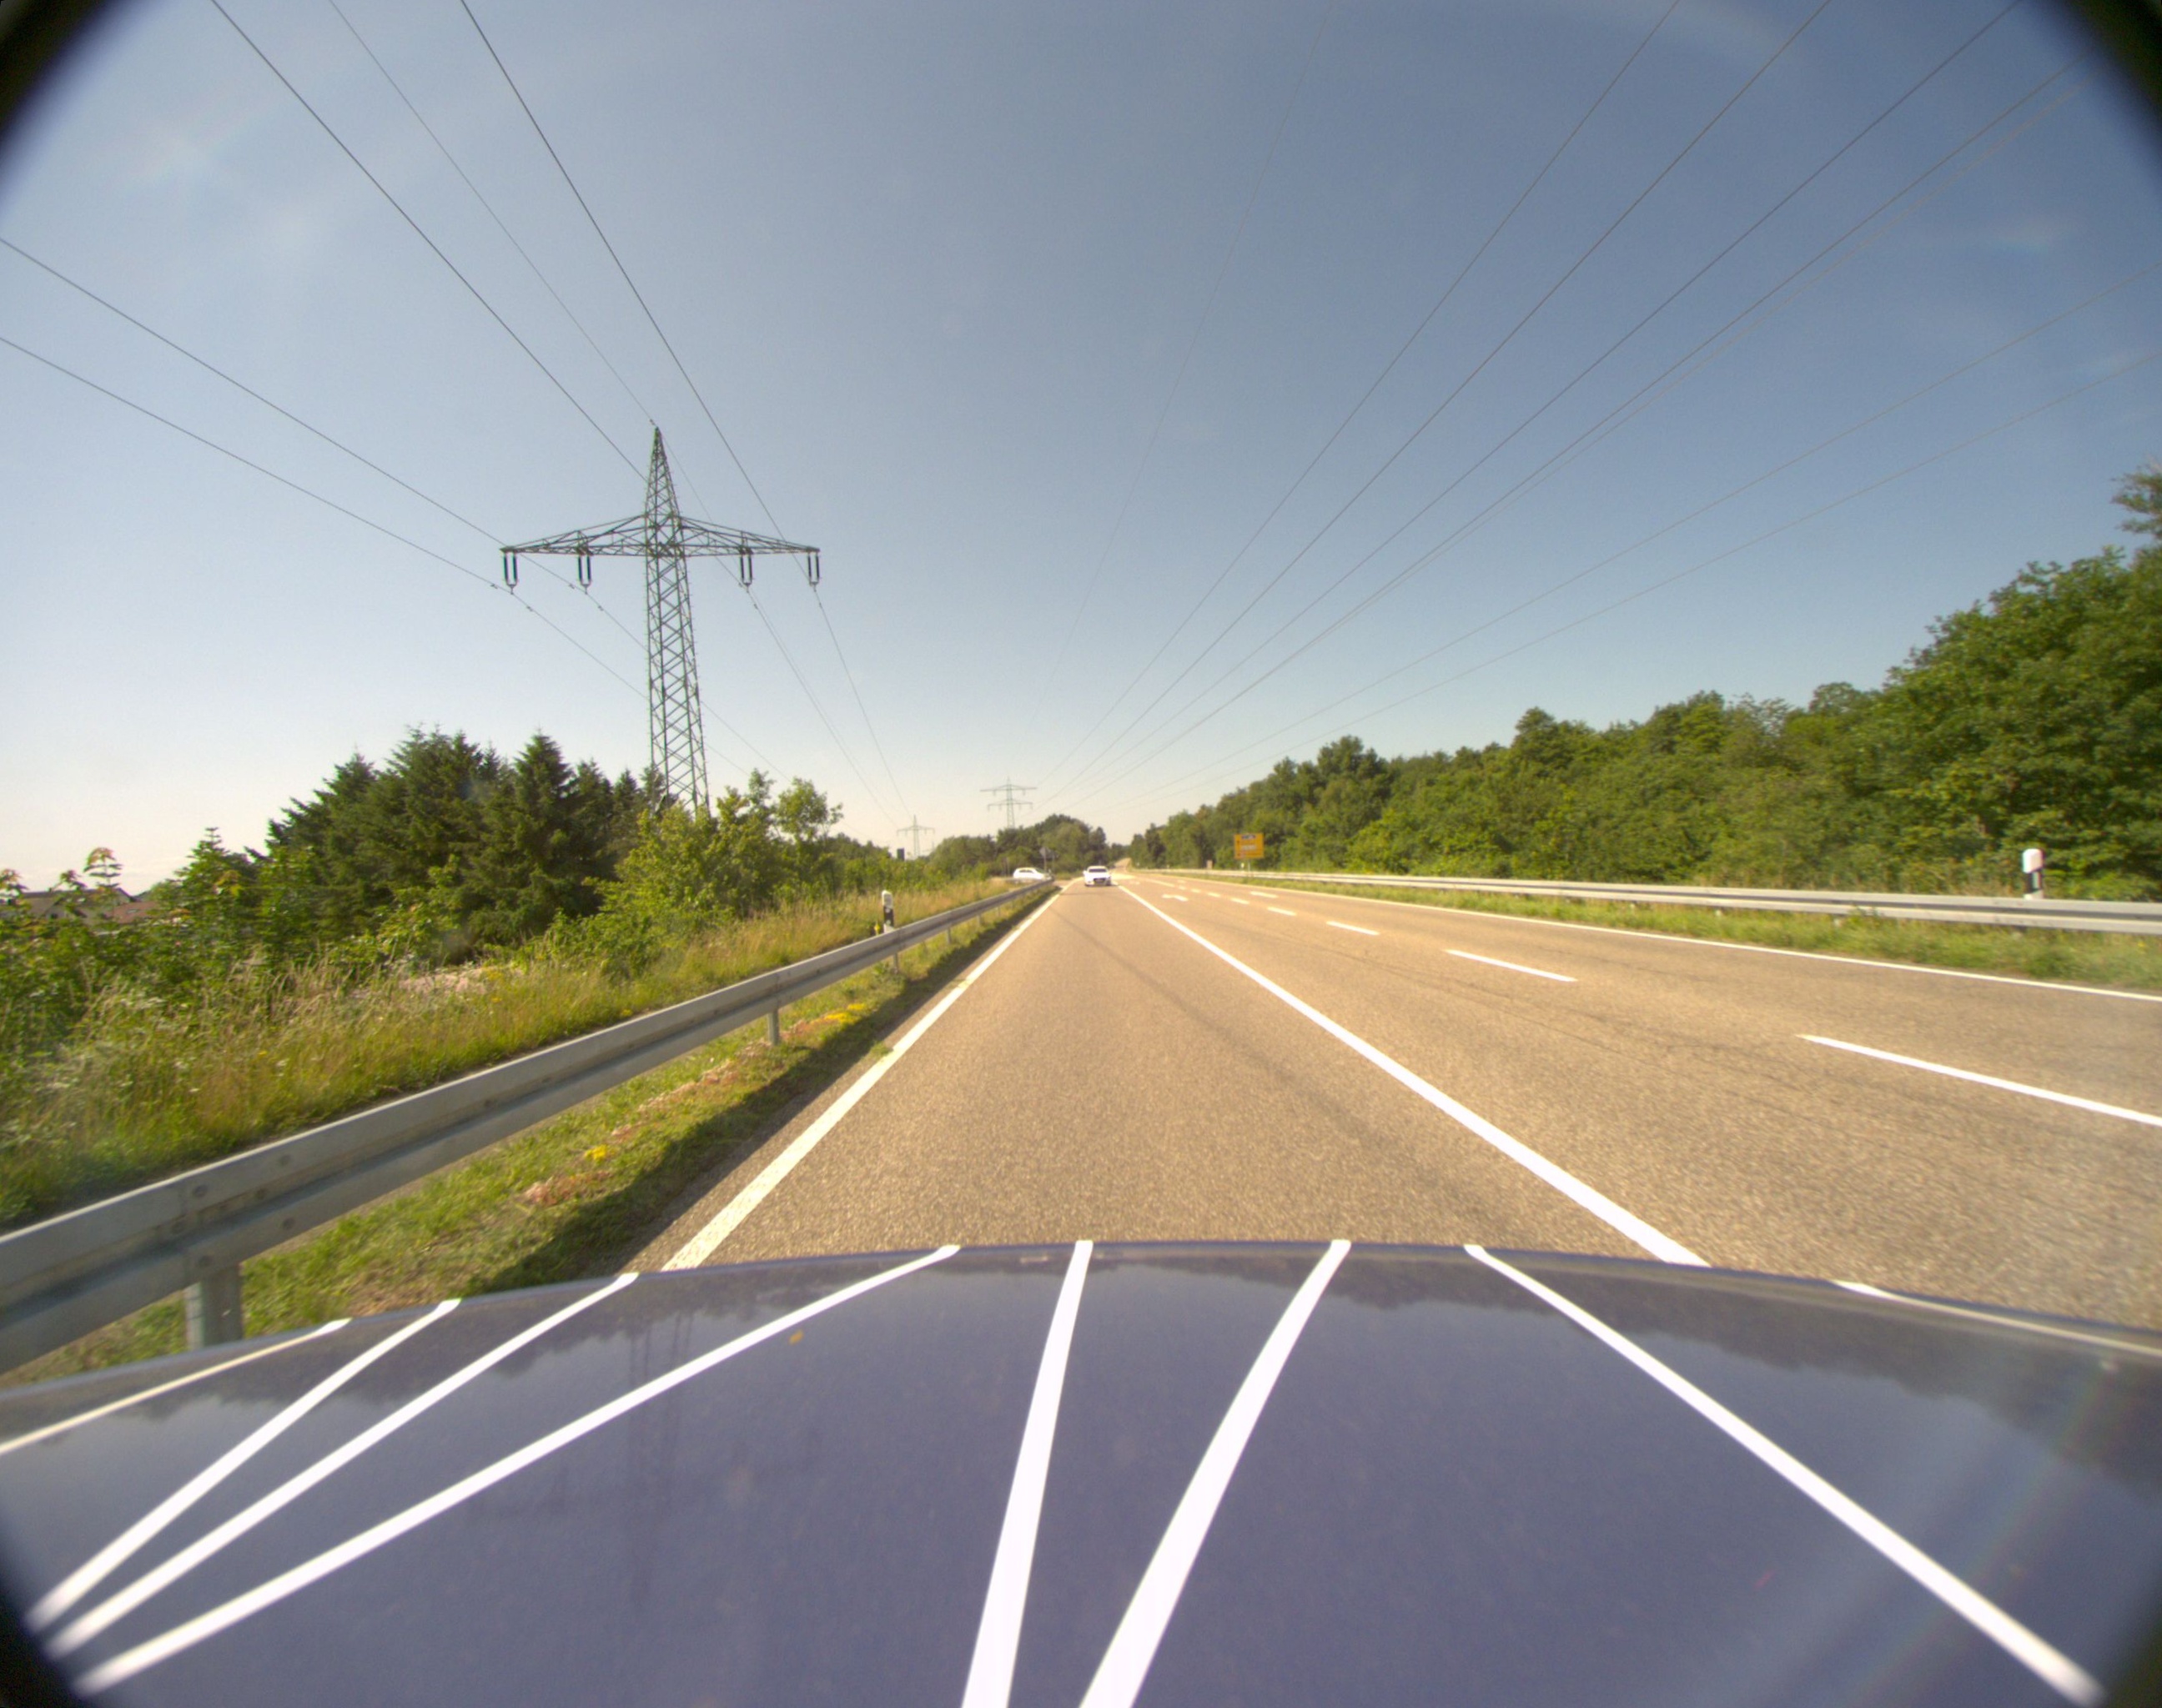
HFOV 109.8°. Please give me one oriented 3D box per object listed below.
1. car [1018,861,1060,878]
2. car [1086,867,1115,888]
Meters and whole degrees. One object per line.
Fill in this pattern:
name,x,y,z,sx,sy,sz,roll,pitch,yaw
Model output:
car,-3.916,1.446,70.791,3.651,1.460,1.553,-2,-1,31
car,1.450,1.737,57.314,1.684,1.471,4.472,-2,-1,-4
